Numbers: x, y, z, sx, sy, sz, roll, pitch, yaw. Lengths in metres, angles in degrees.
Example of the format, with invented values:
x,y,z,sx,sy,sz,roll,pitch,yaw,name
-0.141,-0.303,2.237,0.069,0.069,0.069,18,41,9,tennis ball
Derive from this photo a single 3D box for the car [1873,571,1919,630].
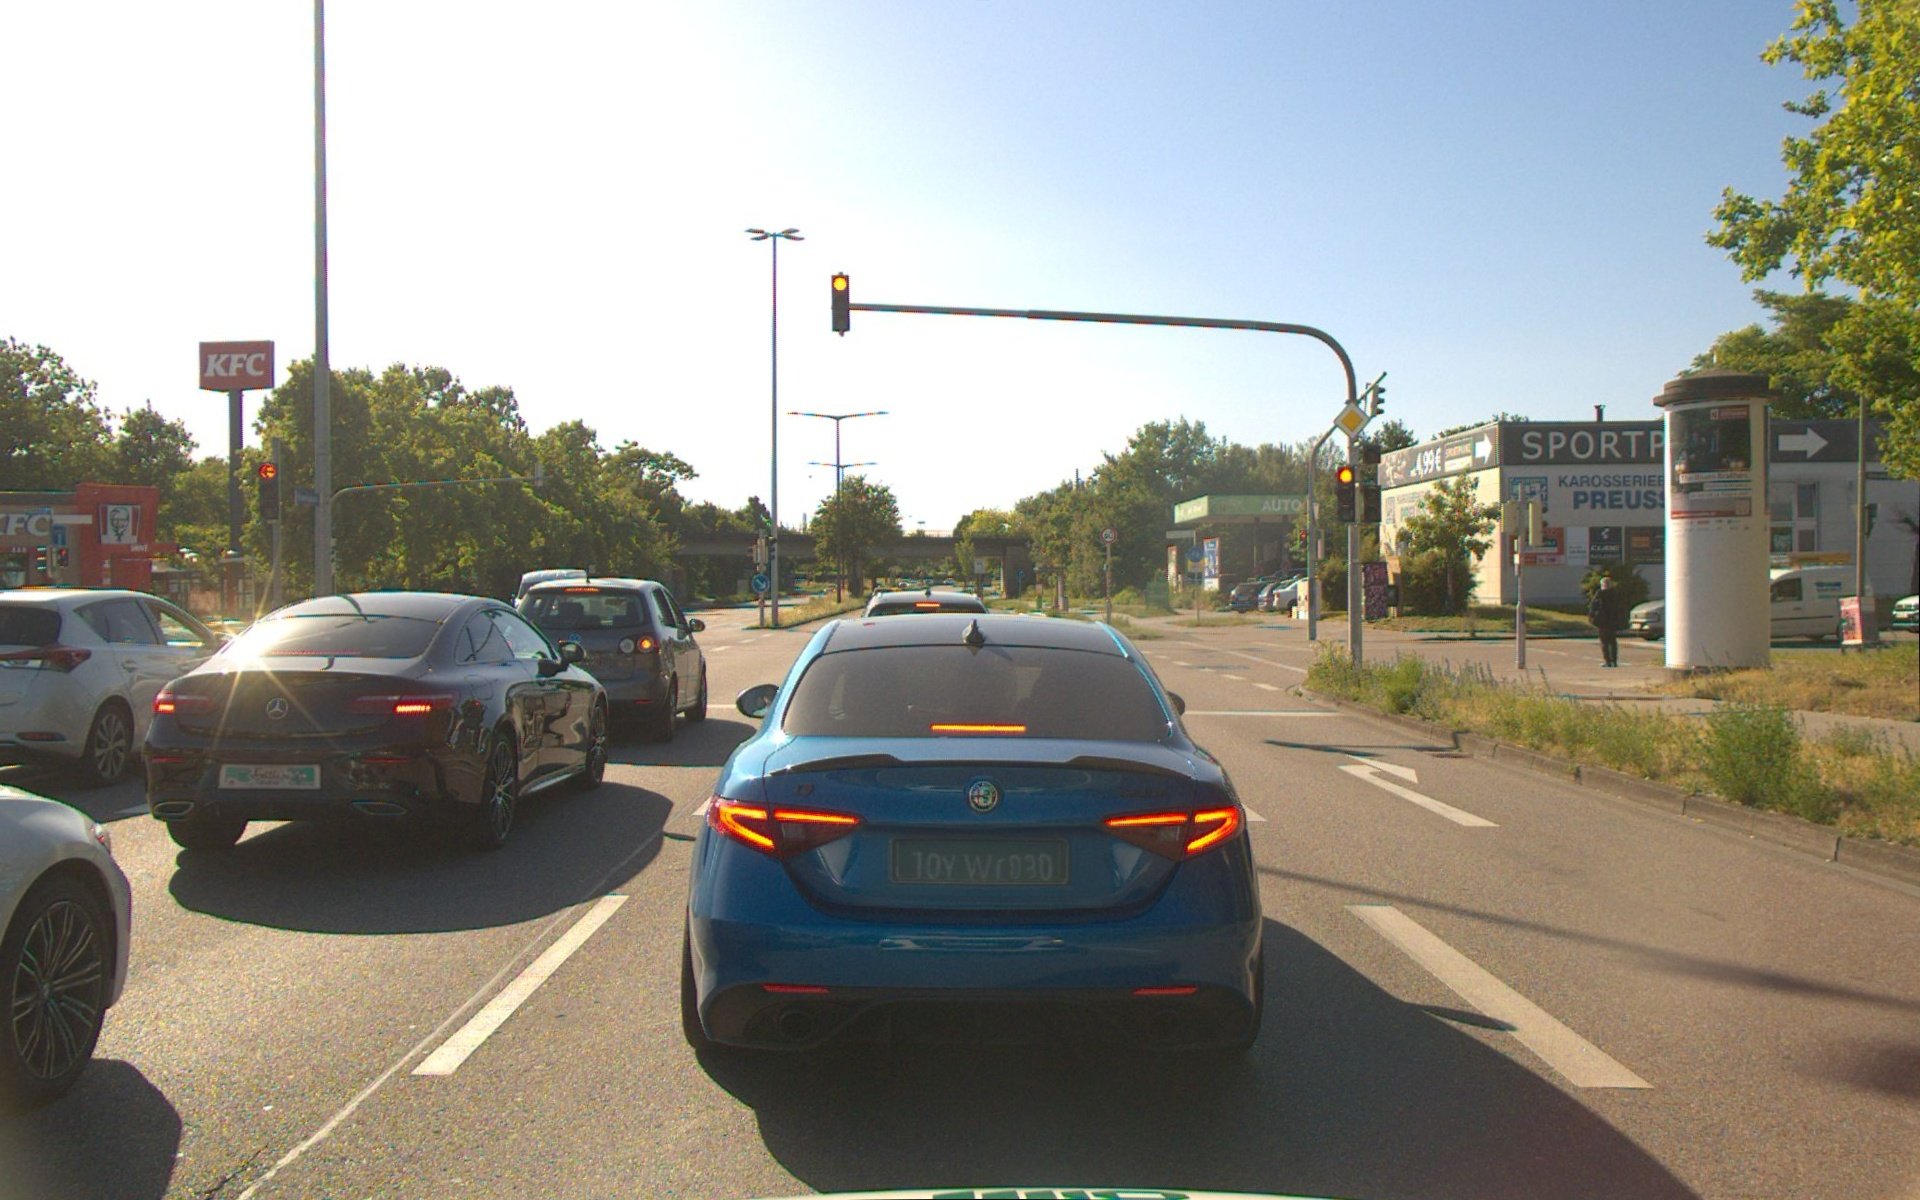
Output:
x,y,z,sx,sy,sz,roll,pitch,yaw,name
26.571,-0.055,43.659,3.960,1.516,1.782,-2,0,-3,car

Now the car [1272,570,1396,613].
x,y,z,sx,sy,sz,roll,pitch,yaw,name
14.611,-0.327,64.794,4.397,1.479,1.858,-2,0,1,car

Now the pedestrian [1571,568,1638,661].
x,y,z,sx,sy,sz,roll,pitch,yaw,name
12.531,0.284,32.194,0.906,1.765,0.938,1,-1,-1,pedestrian

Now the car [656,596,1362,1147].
x,y,z,sx,sy,sz,roll,pitch,yaw,name
0.070,0.736,6.593,1.857,1.443,4.401,1,0,-2,car

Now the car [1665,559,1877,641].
x,y,z,sx,sy,sz,roll,pitch,yaw,name
19.588,-0.015,40.039,4.293,1.833,1.764,-1,2,-2,car

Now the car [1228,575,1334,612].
x,y,z,sx,sy,sz,roll,pitch,yaw,name
14.403,-0.295,74.374,4.397,1.479,1.858,-2,0,1,car

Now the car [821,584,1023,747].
x,y,z,sx,sy,sz,roll,pitch,yaw,name
-0.411,0.604,17.221,1.813,1.443,4.401,1,0,-2,car

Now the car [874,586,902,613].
x,y,z,sx,sy,sz,roll,pitch,yaw,name
-5.165,-0.041,119.290,1.853,1.847,3.999,1,0,-1,car

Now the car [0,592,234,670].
x,y,z,sx,sy,sz,roll,pitch,yaw,name
-18.597,0.670,36.483,4.320,1.516,1.765,-2,0,1,car

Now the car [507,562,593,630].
x,y,z,sx,sy,sz,roll,pitch,yaw,name
-16.394,-0.167,66.452,1.981,2.489,5.820,-3,0,-1,car

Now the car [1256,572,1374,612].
x,y,z,sx,sy,sz,roll,pitch,yaw,name
14.487,-0.326,67.571,4.397,1.479,1.858,-2,0,1,car

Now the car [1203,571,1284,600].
x,y,z,sx,sy,sz,roll,pitch,yaw,name
16.726,-0.857,97.582,4.457,1.516,1.765,-2,0,1,car

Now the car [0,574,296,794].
x,y,z,sx,sy,sz,roll,pitch,yaw,name
-7.099,0.582,13.536,1.723,1.516,4.195,1,0,-2,car

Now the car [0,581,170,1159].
x,y,z,sx,sy,sz,roll,pitch,yaw,name
-3.342,0.690,3.047,1.749,1.516,4.401,1,0,-2,car

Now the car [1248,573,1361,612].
x,y,z,sx,sy,sz,roll,pitch,yaw,name
14.631,-0.303,70.327,4.397,1.479,1.858,-2,0,1,car

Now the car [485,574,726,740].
x,y,z,sx,sy,sz,roll,pitch,yaw,name
-3.622,0.543,17.650,1.723,1.516,4.401,1,0,-2,car

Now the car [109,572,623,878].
x,y,z,sx,sy,sz,roll,pitch,yaw,name
-3.437,0.640,10.552,1.760,1.516,4.474,1,0,-2,car

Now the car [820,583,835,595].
x,y,z,sx,sy,sz,roll,pitch,yaw,name
-18.858,-1.567,235.385,1.723,1.516,4.477,-2,0,-1,car

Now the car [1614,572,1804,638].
x,y,z,sx,sy,sz,roll,pitch,yaw,name
19.598,0.108,43.375,4.201,1.576,1.764,-1,2,-2,car
